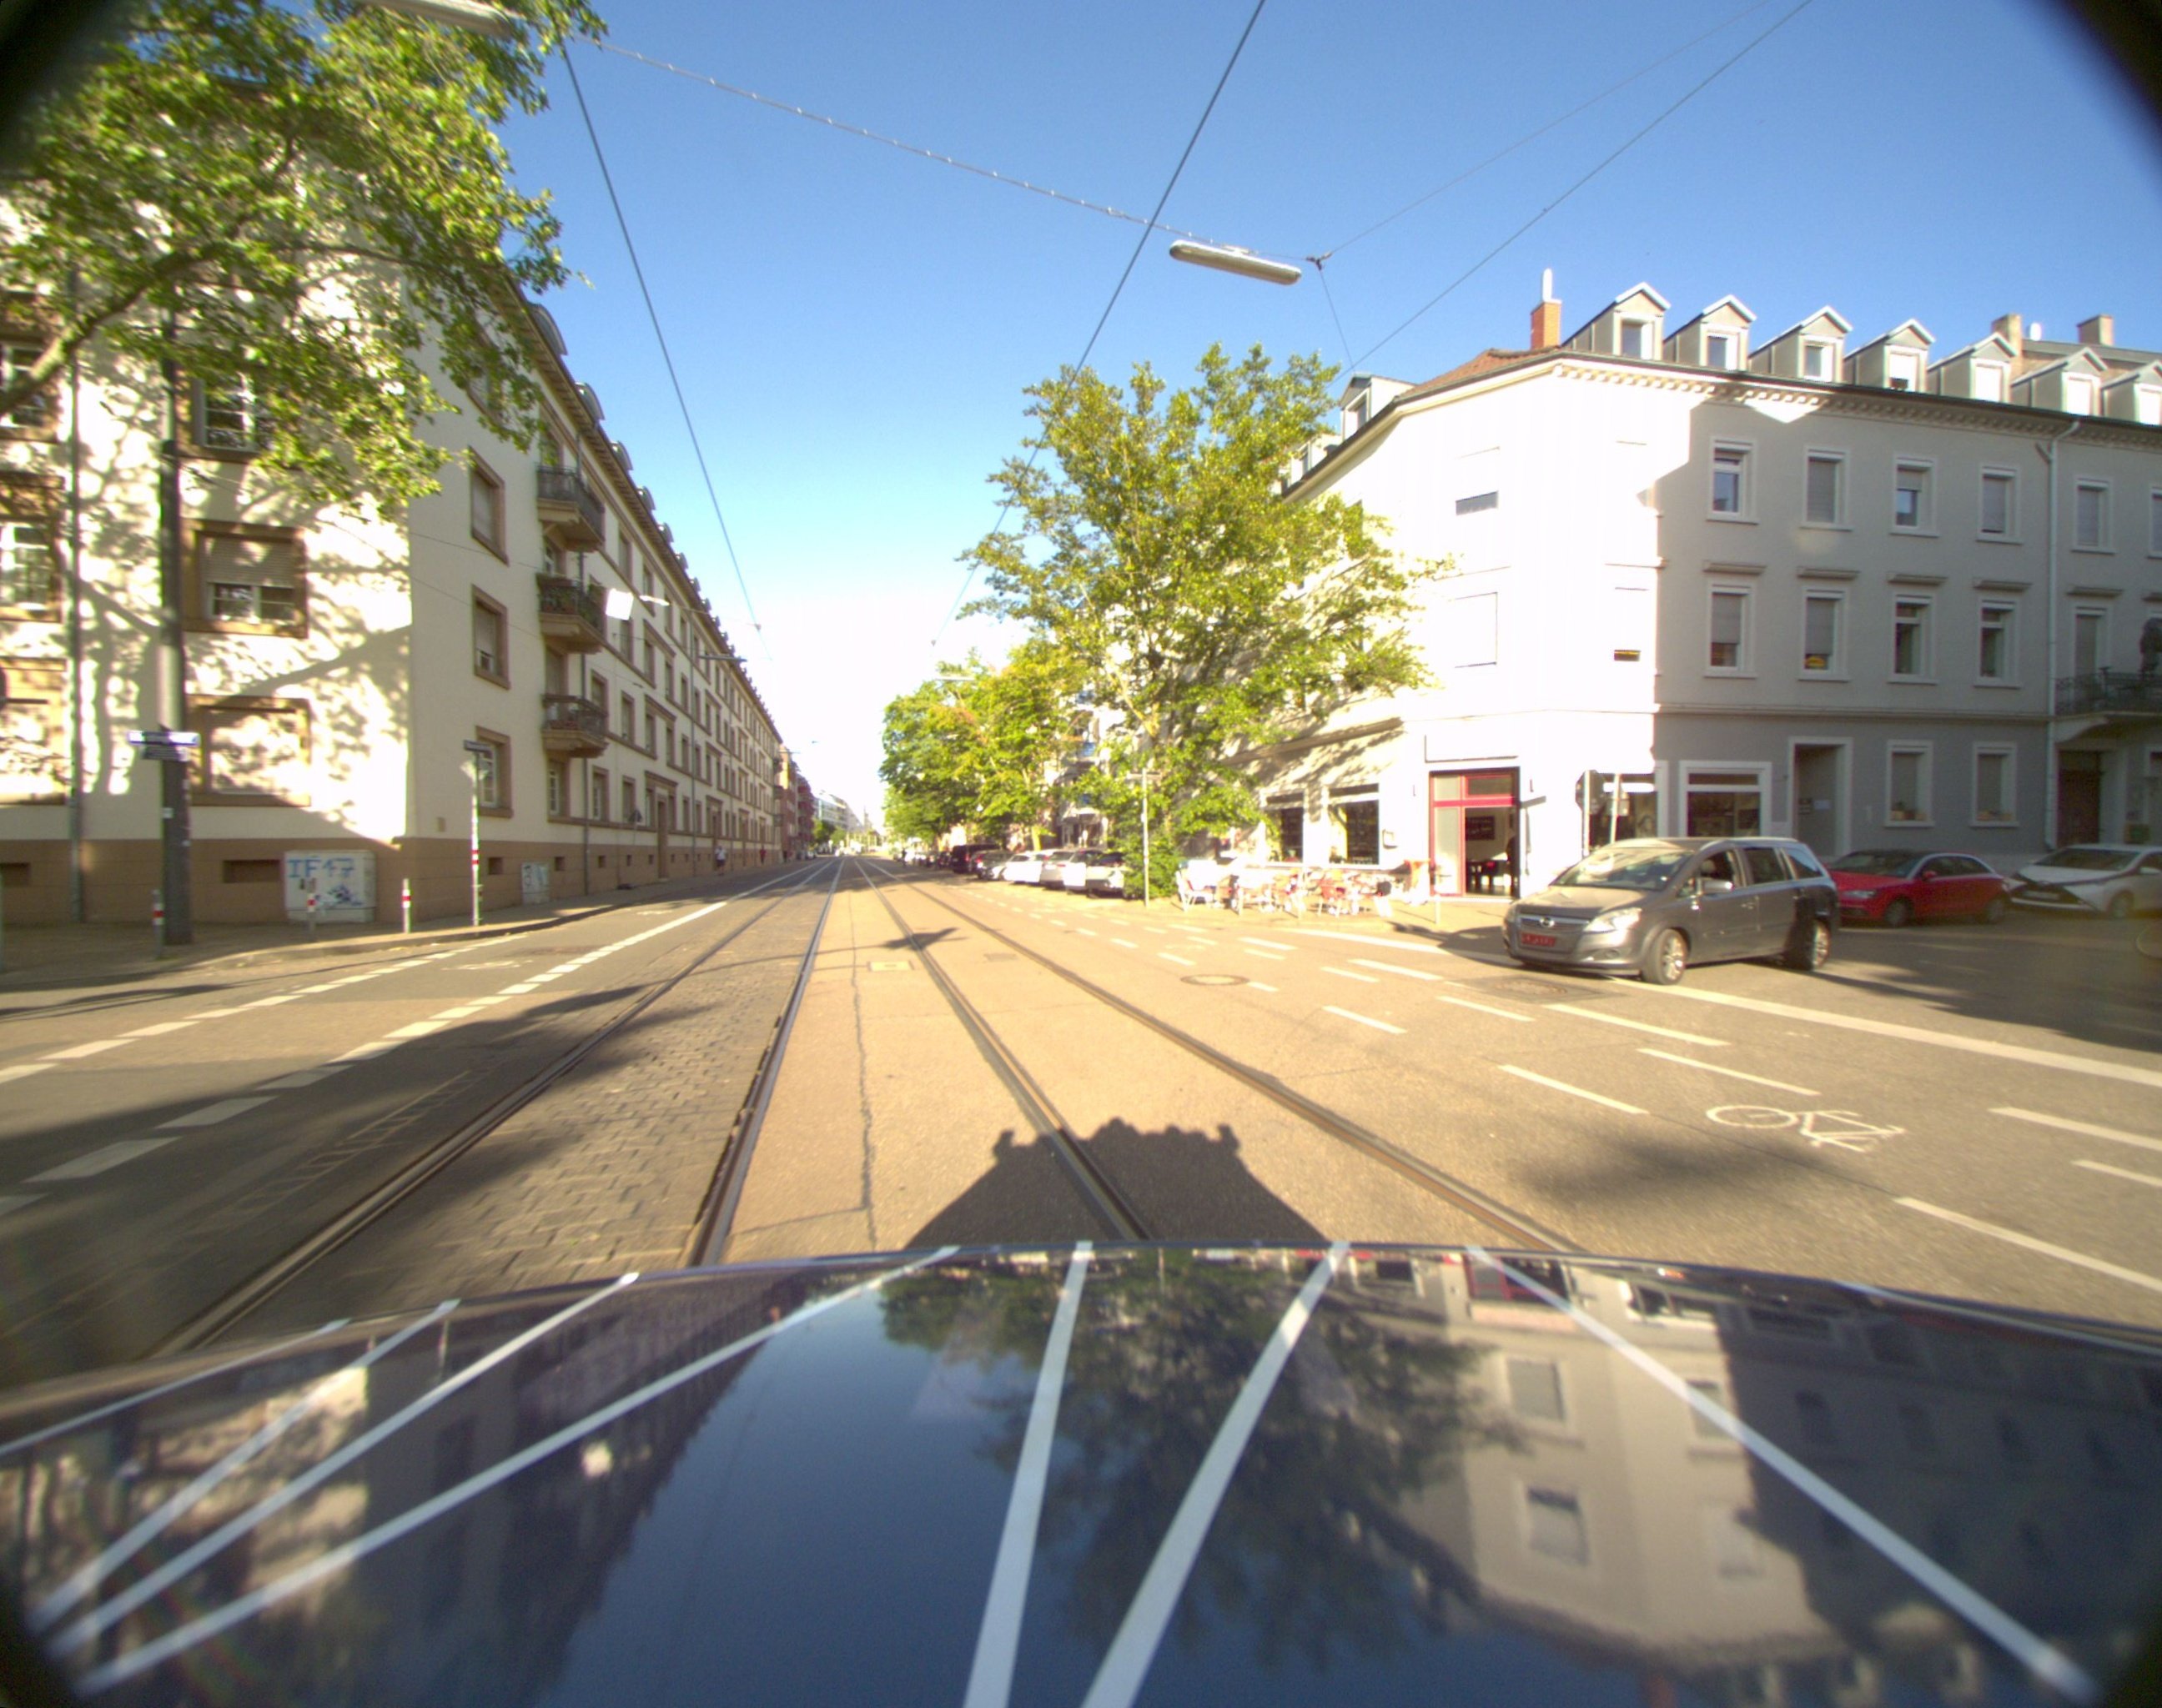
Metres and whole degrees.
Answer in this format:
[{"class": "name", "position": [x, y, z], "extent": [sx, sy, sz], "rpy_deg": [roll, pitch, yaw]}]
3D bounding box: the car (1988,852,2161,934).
[{"class": "car", "position": [21.790, 0.769, 16.131], "extent": [3.789, 1.577, 1.640], "rpy_deg": [-1, 0, -12]}]

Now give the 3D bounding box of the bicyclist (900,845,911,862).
[{"class": "bicyclist", "position": [-15.824, -0.057, 68.469], "extent": [0.902, 1.445, 1.261], "rpy_deg": [-1, 1, -17]}]

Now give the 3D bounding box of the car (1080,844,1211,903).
[{"class": "car", "position": [2.067, 0.540, 23.643], "extent": [4.143, 1.547, 1.615], "rpy_deg": [-3, 3, -41]}]

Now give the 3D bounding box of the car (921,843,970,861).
[{"class": "car", "position": [-12.676, -0.175, 71.243], "extent": [4.142, 1.480, 1.616], "rpy_deg": [-3, 3, -32]}]

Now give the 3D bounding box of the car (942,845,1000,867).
[{"class": "car", "position": [-8.483, 0.133, 58.474], "extent": [4.138, 1.480, 1.617], "rpy_deg": [-2, 3, -17]}]

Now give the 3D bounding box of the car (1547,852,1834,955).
[{"class": "car", "position": [10.926, 0.818, 13.716], "extent": [4.198, 1.652, 1.764], "rpy_deg": [-1, 0, -12]}]

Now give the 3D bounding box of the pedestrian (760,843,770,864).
[{"class": "pedestrian", "position": [-27.966, -0.015, 67.277], "extent": [0.739, 1.827, 0.695], "rpy_deg": [0, 1, -18]}]

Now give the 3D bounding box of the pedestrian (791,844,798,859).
[{"class": "pedestrian", "position": [-35.034, -0.316, 92.969], "extent": [0.739, 1.827, 0.695], "rpy_deg": [0, 1, -18]}]

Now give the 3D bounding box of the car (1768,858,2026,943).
[{"class": "car", "position": [16.014, 0.855, 14.970], "extent": [3.956, 1.494, 1.649], "rpy_deg": [-1, 0, -12]}]

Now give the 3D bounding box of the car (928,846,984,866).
[{"class": "car", "position": [-10.220, 0.152, 62.264], "extent": [4.142, 1.480, 1.616], "rpy_deg": [-3, 3, -32]}]

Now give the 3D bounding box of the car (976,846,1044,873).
[{"class": "car", "position": [-4.327, 0.298, 46.840], "extent": [1.615, 1.480, 4.143], "rpy_deg": [1, 3, 41]}]

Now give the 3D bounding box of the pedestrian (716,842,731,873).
[{"class": "pedestrian", "position": [-21.116, 0.222, 44.881], "extent": [0.739, 1.827, 0.695], "rpy_deg": [0, 1, -18]}]

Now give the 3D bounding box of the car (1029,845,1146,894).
[{"class": "car", "position": [0.278, 0.512, 28.067], "extent": [4.142, 1.547, 1.615], "rpy_deg": [-3, 3, -36]}]

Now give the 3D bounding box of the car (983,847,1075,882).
[{"class": "car", "position": [-2.528, 0.483, 36.997], "extent": [4.140, 1.480, 1.616], "rpy_deg": [-2, 3, -22]}]

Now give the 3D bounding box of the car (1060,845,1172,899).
[{"class": "car", "position": [1.294, 0.545, 26.159], "extent": [1.615, 1.547, 4.143], "rpy_deg": [1, 3, 41]}]

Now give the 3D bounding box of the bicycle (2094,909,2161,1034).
[{"class": "bicycle", "position": [10.100, 1.072, 7.041], "extent": [0.457, 1.039, 1.692], "rpy_deg": [1, 0, 40]}]

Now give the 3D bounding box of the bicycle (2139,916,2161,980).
[{"class": "bicycle", "position": [14.390, 1.245, 9.487], "extent": [0.356, 0.813, 1.310], "rpy_deg": [-1, 1, -19]}]

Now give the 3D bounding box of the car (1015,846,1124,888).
[{"class": "car", "position": [-0.452, 0.493, 31.016], "extent": [4.142, 1.480, 1.616], "rpy_deg": [-3, 3, -30]}]

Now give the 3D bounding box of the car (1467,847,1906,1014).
[{"class": "car", "position": [7.482, 0.772, 9.369], "extent": [5.189, 1.652, 1.797], "rpy_deg": [0, 0, -20]}]

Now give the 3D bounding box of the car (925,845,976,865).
[{"class": "car", "position": [-11.686, 0.058, 68.095], "extent": [4.142, 1.653, 1.616], "rpy_deg": [-3, 3, -32]}]

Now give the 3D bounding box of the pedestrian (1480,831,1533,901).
[{"class": "pedestrian", "position": [11.187, 0.309, 19.997], "extent": [0.852, 1.789, 0.863], "rpy_deg": [0, 1, -14]}]

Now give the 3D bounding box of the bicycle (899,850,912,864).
[{"class": "bicycle", "position": [-15.806, 0.239, 68.408], "extent": [0.902, 1.158, 3.243], "rpy_deg": [-1, 1, -17]}]

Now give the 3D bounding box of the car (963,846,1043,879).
[{"class": "car", "position": [-4.032, 0.403, 39.718], "extent": [1.615, 1.480, 4.143], "rpy_deg": [1, 3, 41]}]

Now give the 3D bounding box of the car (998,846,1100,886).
[{"class": "car", "position": [-1.352, 0.485, 33.067], "extent": [4.142, 1.480, 1.616], "rpy_deg": [-3, 3, -31]}]

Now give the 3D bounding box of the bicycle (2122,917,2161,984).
[{"class": "bicycle", "position": [14.030, 1.254, 9.386], "extent": [0.372, 0.813, 1.310], "rpy_deg": [-1, 1, -19]}]

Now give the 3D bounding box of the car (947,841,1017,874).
[{"class": "car", "position": [-6.248, 0.154, 48.295], "extent": [1.883, 1.877, 4.143], "rpy_deg": [1, 3, 41]}]
